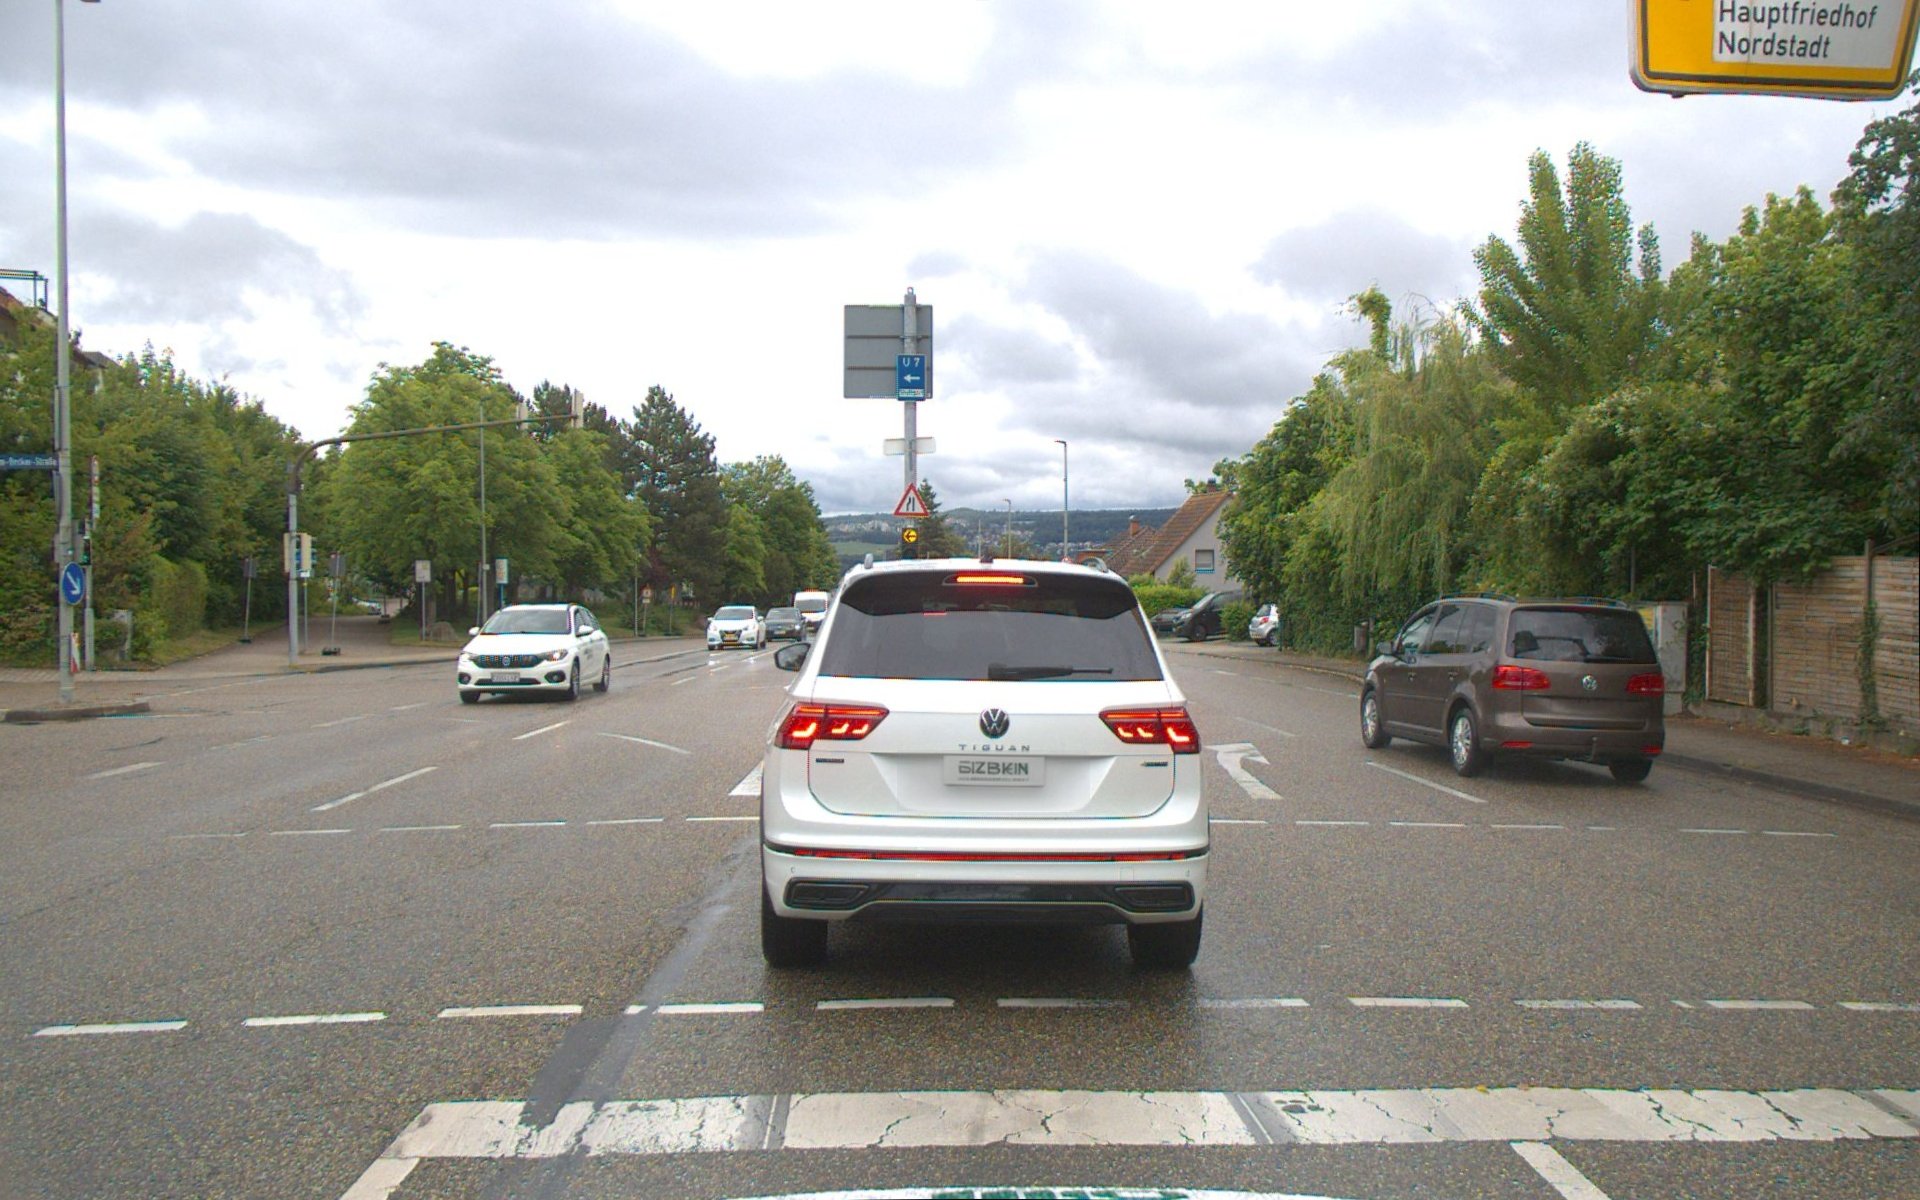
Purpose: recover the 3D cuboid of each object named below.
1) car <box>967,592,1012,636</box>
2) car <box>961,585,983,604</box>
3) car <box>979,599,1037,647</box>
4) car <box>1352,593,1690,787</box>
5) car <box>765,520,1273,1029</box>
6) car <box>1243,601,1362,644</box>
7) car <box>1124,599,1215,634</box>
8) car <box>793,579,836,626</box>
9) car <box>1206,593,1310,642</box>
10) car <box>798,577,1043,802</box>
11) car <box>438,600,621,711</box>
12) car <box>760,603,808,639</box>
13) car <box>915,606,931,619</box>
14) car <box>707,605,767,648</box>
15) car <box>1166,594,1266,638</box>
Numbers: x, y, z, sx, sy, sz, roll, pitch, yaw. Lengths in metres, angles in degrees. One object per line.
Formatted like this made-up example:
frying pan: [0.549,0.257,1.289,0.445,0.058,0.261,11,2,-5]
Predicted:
car: [1.223,0.560,68.992,1.677,1.789,3.800,0,0,-2]
car: [1.042,-0.485,146.560,1.813,1.602,3.999,-1,0,-1]
car: [1.553,0.715,54.488,1.646,1.485,3.800,1,0,-2]
car: [5.238,0.757,16.035,1.701,1.602,4.066,1,0,-3]
car: [0.154,0.609,7.927,1.727,1.725,4.271,2,0,-2]
car: [11.823,0.792,57.212,3.644,1.420,1.725,0,-1,-8]
car: [8.833,0.714,69.842,3.613,1.394,1.518,1,-2,-3]
car: [-8.210,0.120,93.539,2.251,2.572,5.770,0,0,-3]
car: [11.248,0.670,62.499,3.556,1.777,1.706,0,-1,-5]
car: [-0.301,0.653,14.027,1.762,1.617,3.926,1,0,0]
car: [-6.857,0.828,26.800,1.928,1.479,4.308,-1,2,-2]
car: [-7.665,0.883,72.316,1.740,1.528,4.470,0,0,-2]
car: [-4.473,1.525,200.543,1.813,1.602,3.999,-1,0,-1]
car: [-7.618,0.885,56.770,1.711,1.421,3.800,0,0,-3]
car: [10.011,0.640,64.910,3.556,1.655,1.789,1,-2,-5]
